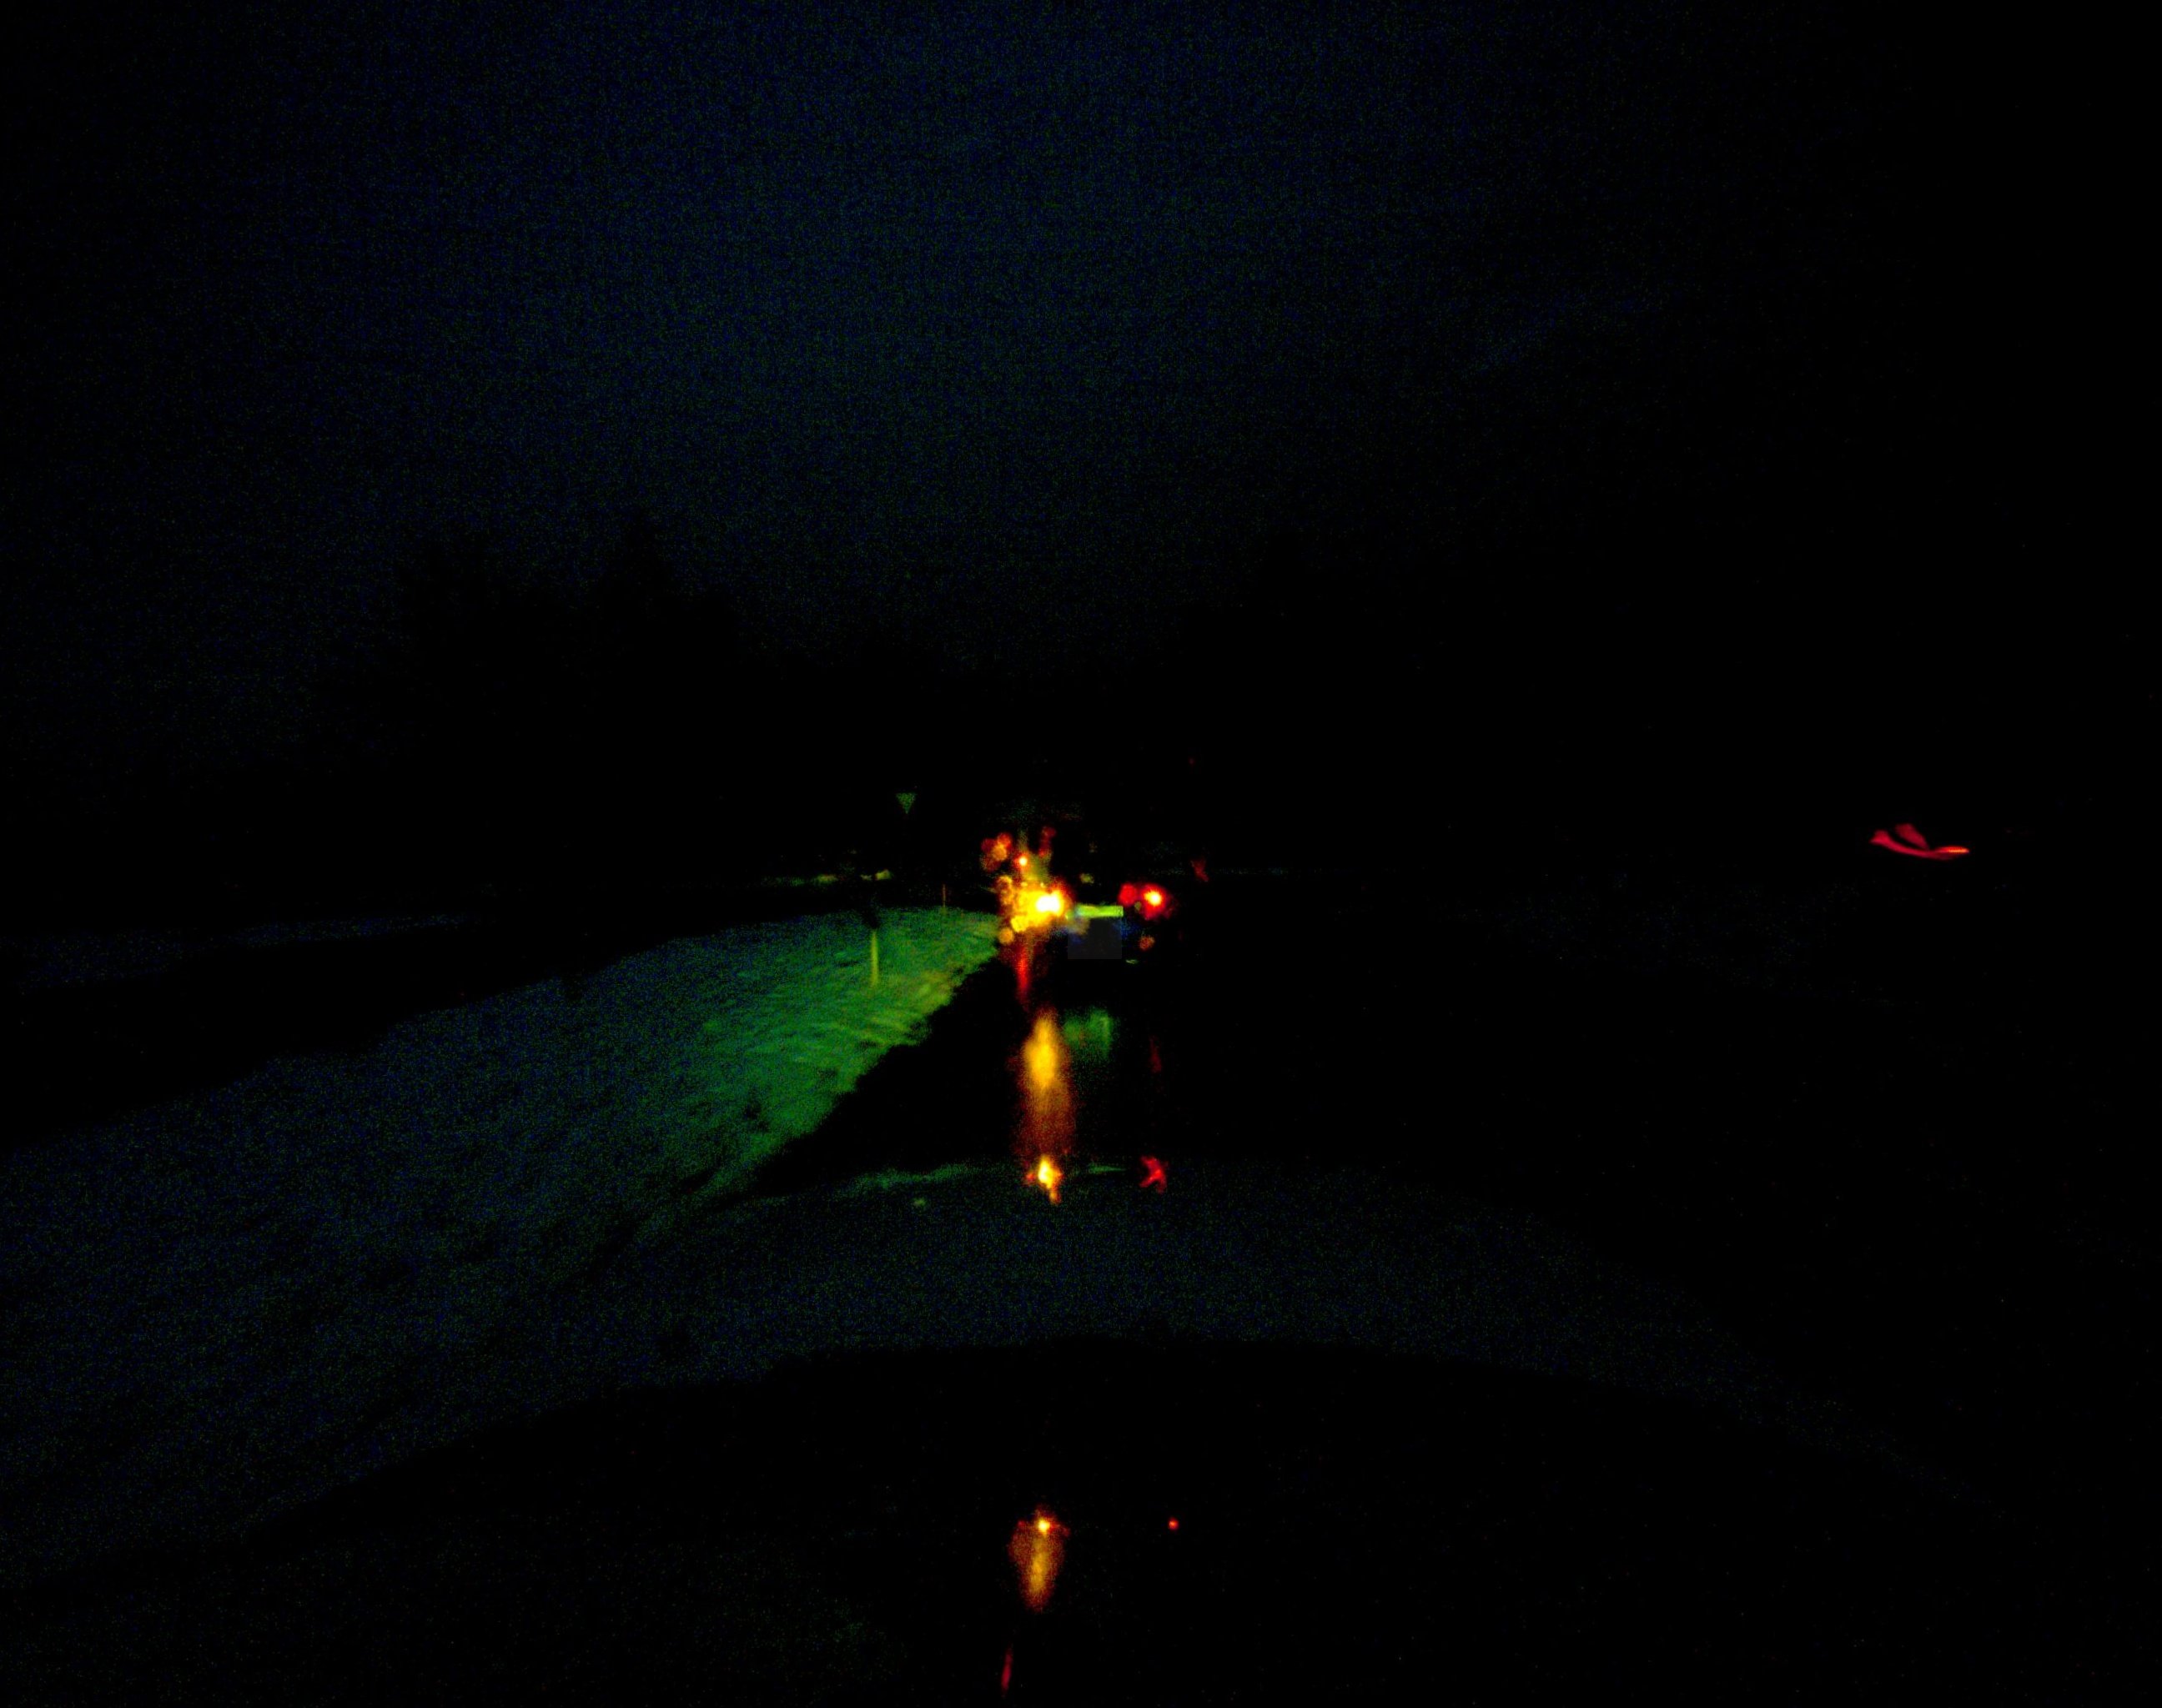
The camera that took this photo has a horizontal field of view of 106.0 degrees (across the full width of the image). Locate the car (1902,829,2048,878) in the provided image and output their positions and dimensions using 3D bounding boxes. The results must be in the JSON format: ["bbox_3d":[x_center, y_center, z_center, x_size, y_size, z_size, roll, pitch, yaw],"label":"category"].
[{"bbox_3d":[36.761,0.016,33.528,5.005,1.945,1.679,0,-1,-11],"label":"car"}]

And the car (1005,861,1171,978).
[{"bbox_3d":[0.106,0.777,11.425,1.915,1.277,4.001,0,1,1],"label":"car"}]

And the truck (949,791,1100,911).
[{"bbox_3d":[-1.666,-0.047,21.512,2.087,2.746,5.272,1,-1,-27],"label":"truck"}]
